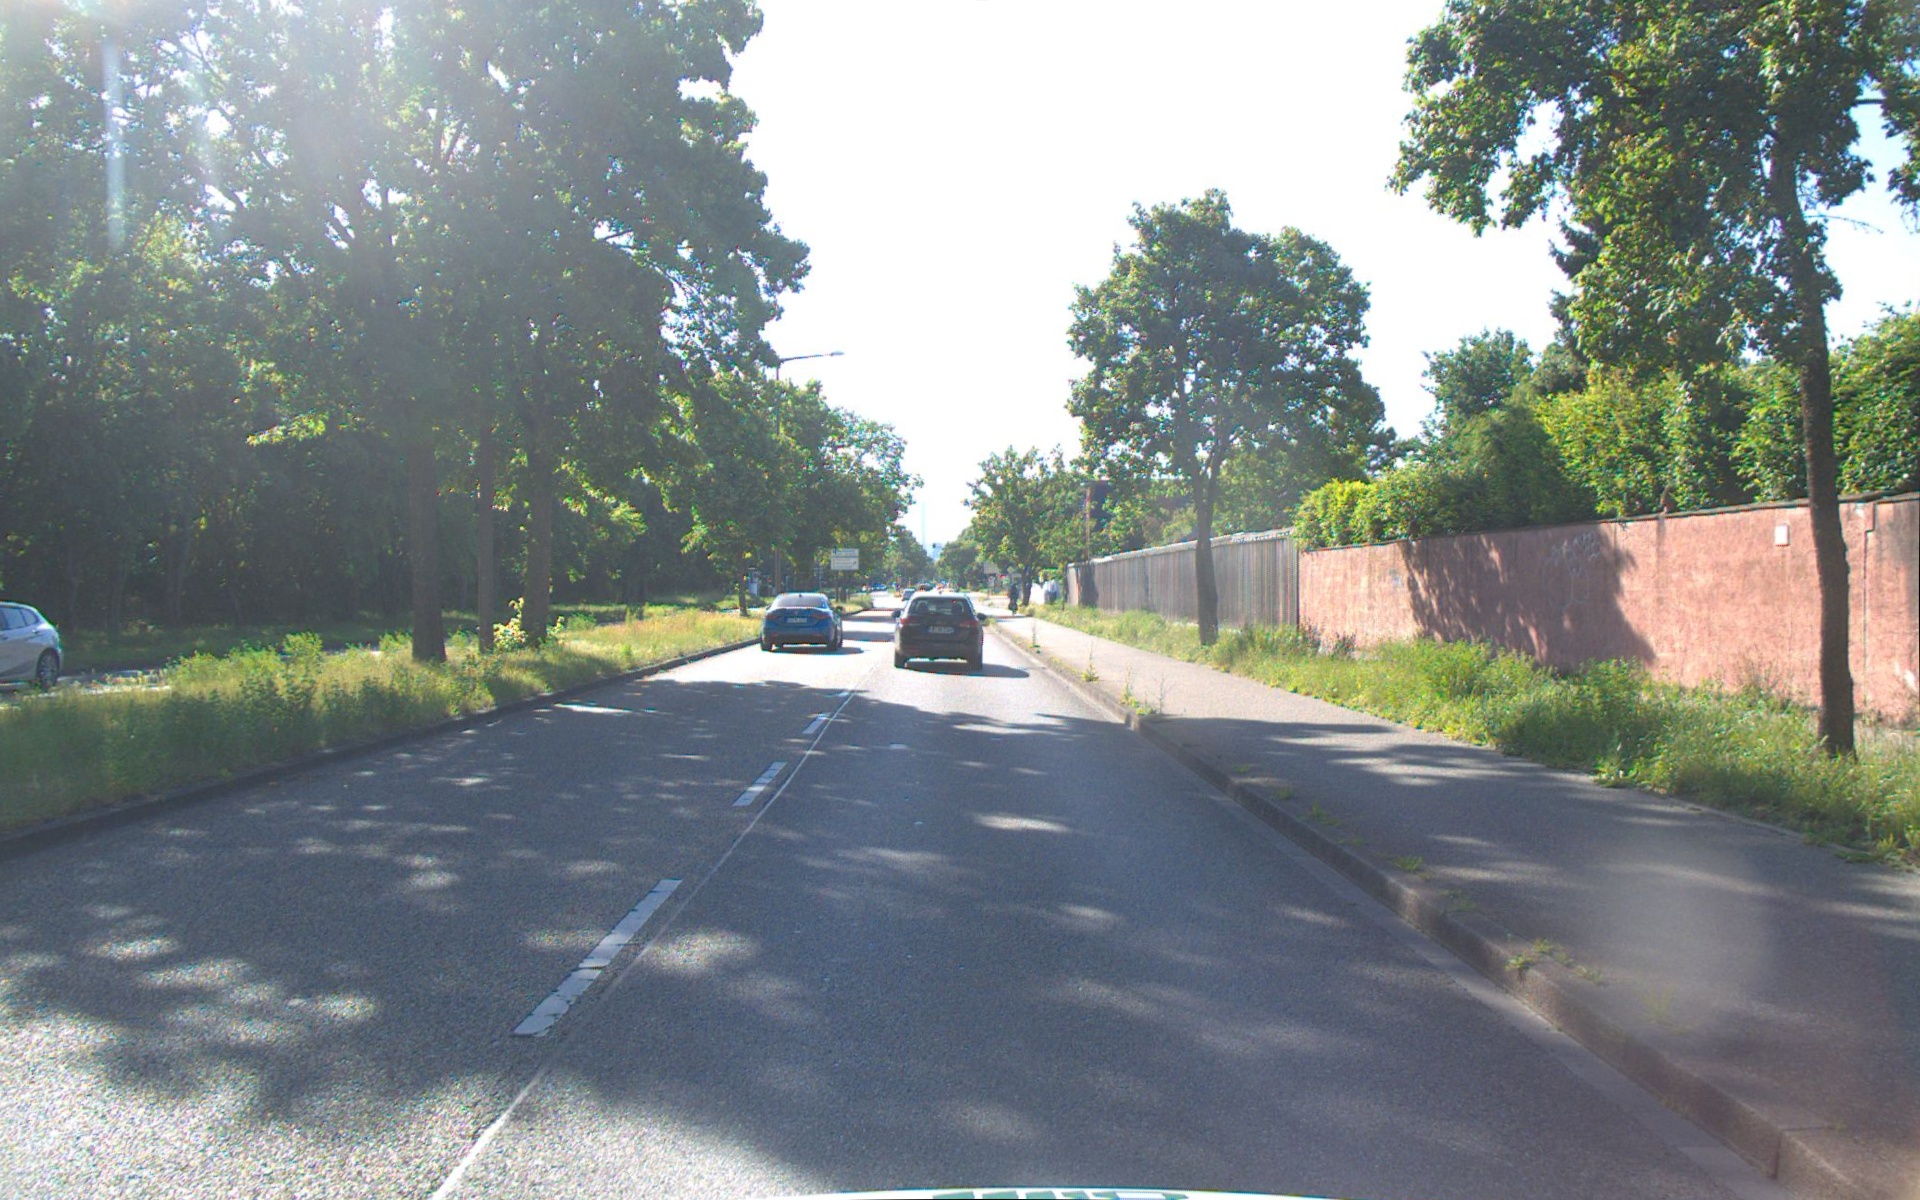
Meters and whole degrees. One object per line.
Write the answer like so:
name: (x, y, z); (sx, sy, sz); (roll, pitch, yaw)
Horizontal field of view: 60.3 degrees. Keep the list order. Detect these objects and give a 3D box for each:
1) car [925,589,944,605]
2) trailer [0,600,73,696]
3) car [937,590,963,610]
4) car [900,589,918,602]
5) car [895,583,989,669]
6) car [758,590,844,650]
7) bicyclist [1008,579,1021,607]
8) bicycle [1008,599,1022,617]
car: (-2.633, -0.322, 170.033); (1.938, 1.465, 3.999); (0, 1, -2)
trailer: (-15.425, 0.766, 24.887); (1.705, 1.449, 4.496); (-2, 0, 0)
car: (-0.834, -0.015, 131.456); (1.938, 1.465, 3.999); (0, 1, -2)
car: (-6.022, -0.577, 195.430); (1.939, 1.465, 3.997); (0, 1, -5)
car: (-0.332, 0.484, 33.138); (1.724, 1.586, 4.000); (2, 0, 0)
car: (-3.966, 0.476, 41.833); (1.955, 1.429, 3.998); (0, 0, -3)
bicyclist: (2.856, -0.381, 86.862); (0.666, 1.443, 0.812); (0, 0, -1)
bicycle: (2.874, 0.417, 86.738); (0.642, 0.908, 1.874); (0, 0, -1)
